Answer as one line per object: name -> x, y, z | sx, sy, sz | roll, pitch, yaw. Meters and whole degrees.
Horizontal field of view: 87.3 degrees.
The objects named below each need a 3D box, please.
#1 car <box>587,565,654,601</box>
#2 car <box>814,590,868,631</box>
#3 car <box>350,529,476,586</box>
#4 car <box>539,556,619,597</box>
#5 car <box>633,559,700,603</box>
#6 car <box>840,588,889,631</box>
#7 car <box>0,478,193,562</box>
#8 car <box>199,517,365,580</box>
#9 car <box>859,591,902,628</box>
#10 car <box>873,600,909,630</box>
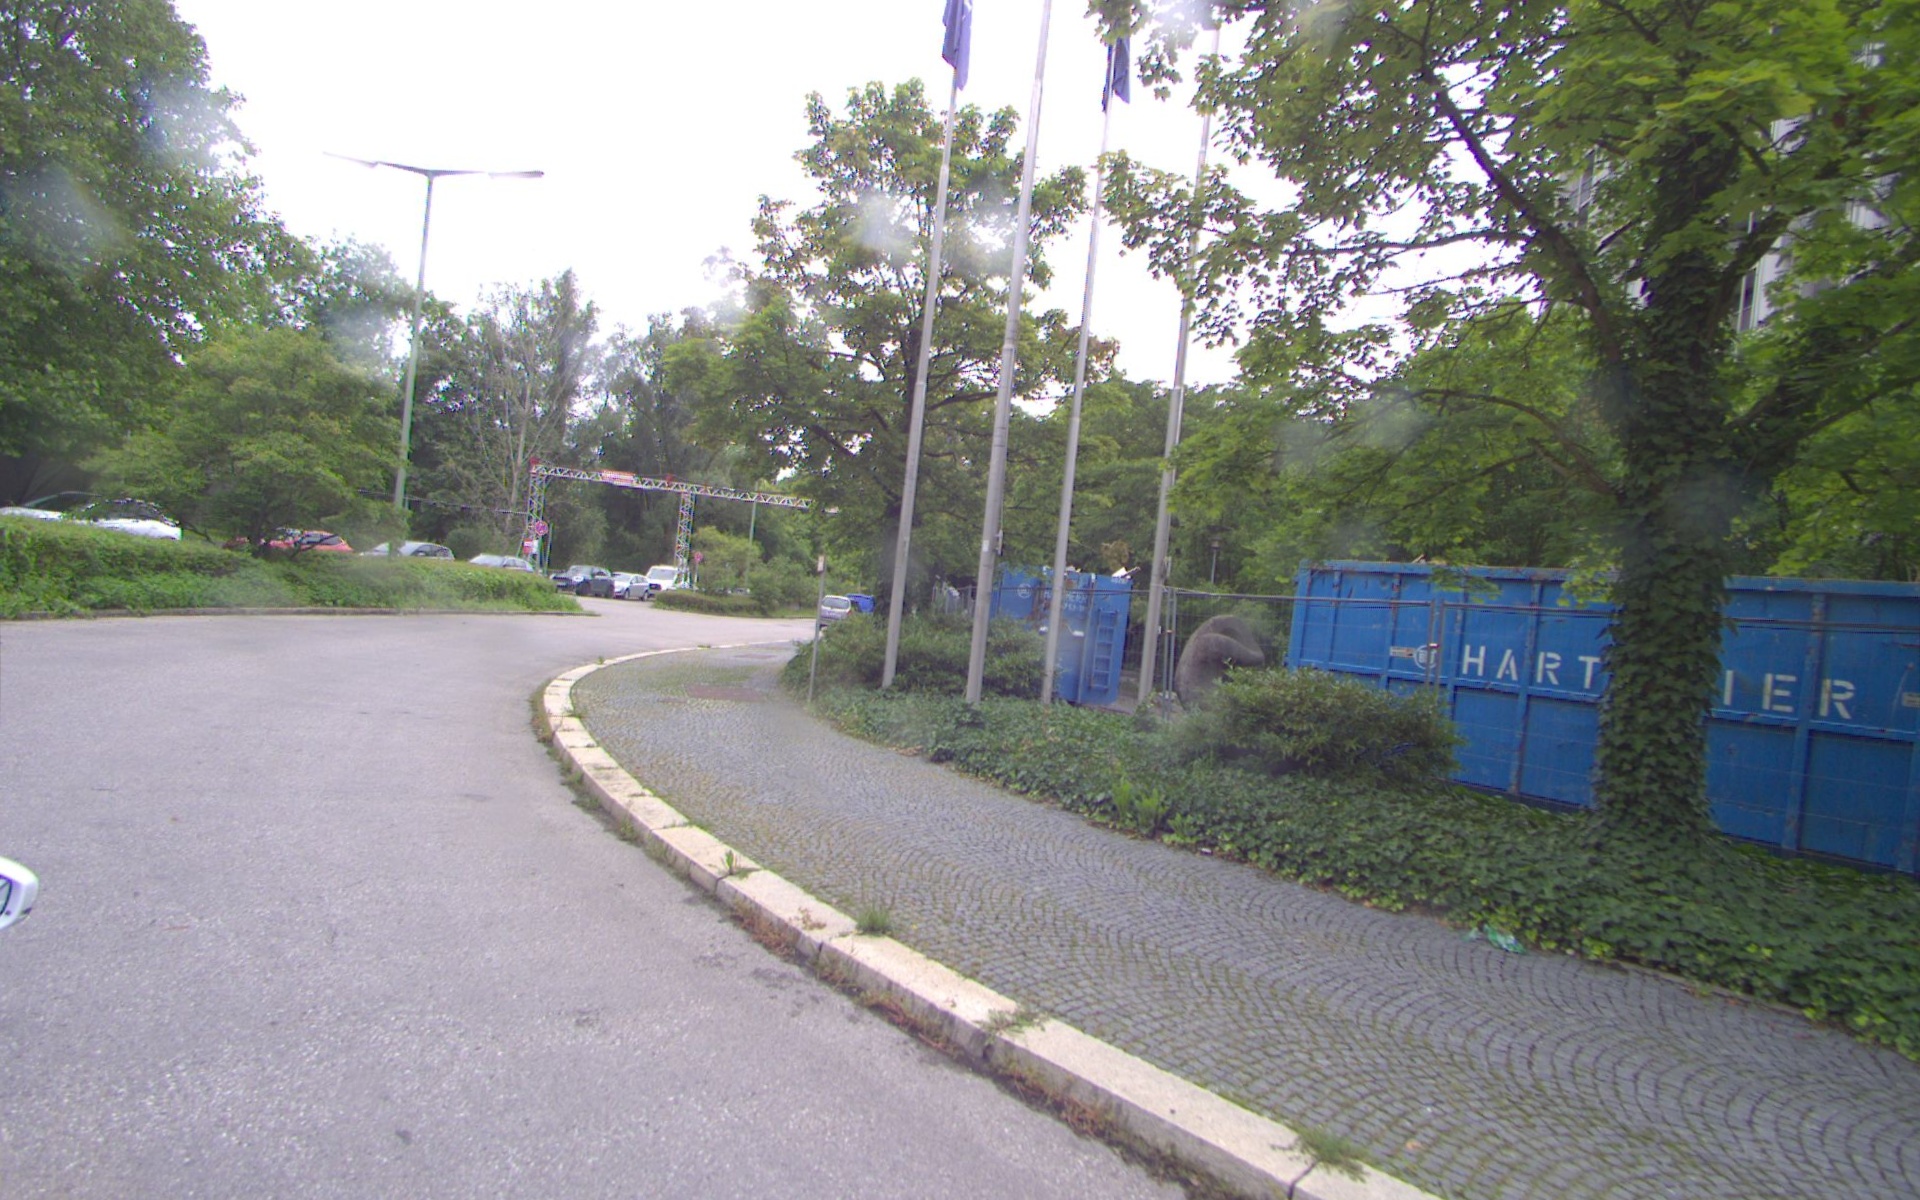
car -> -18.387, -0.904, 54.662 | 1.962, 1.593, 4.001 | 7, -1, 3
car -> -5.434, 0.501, 46.255 | 1.701, 1.631, 4.001 | 7, -1, 2
car -> -19.813, -1.506, 36.643 | 1.962, 1.593, 4.002 | 7, -1, 6
car -> -18.709, -1.108, 49.628 | 1.962, 1.593, 4.002 | 7, -1, 6
car -> -17.601, -1.081, 60.604 | 2.164, 2.254, 4.872 | 7, 0, 3
car -> -4.849, 0.529, 51.648 | 1.701, 1.913, 4.329 | 7, -1, 3
car -> -21.254, -1.908, 24.333 | 1.962, 1.526, 4.002 | 7, -1, 6
car -> -20.504, -1.508, 30.664 | 1.962, 1.426, 4.002 | 7, -1, 6
car -> -4.559, 0.588, 58.485 | 1.701, 1.913, 4.329 | 7, -1, 3
car -> -4.344, 0.974, 63.947 | 1.701, 1.631, 4.001 | 7, -1, 2
